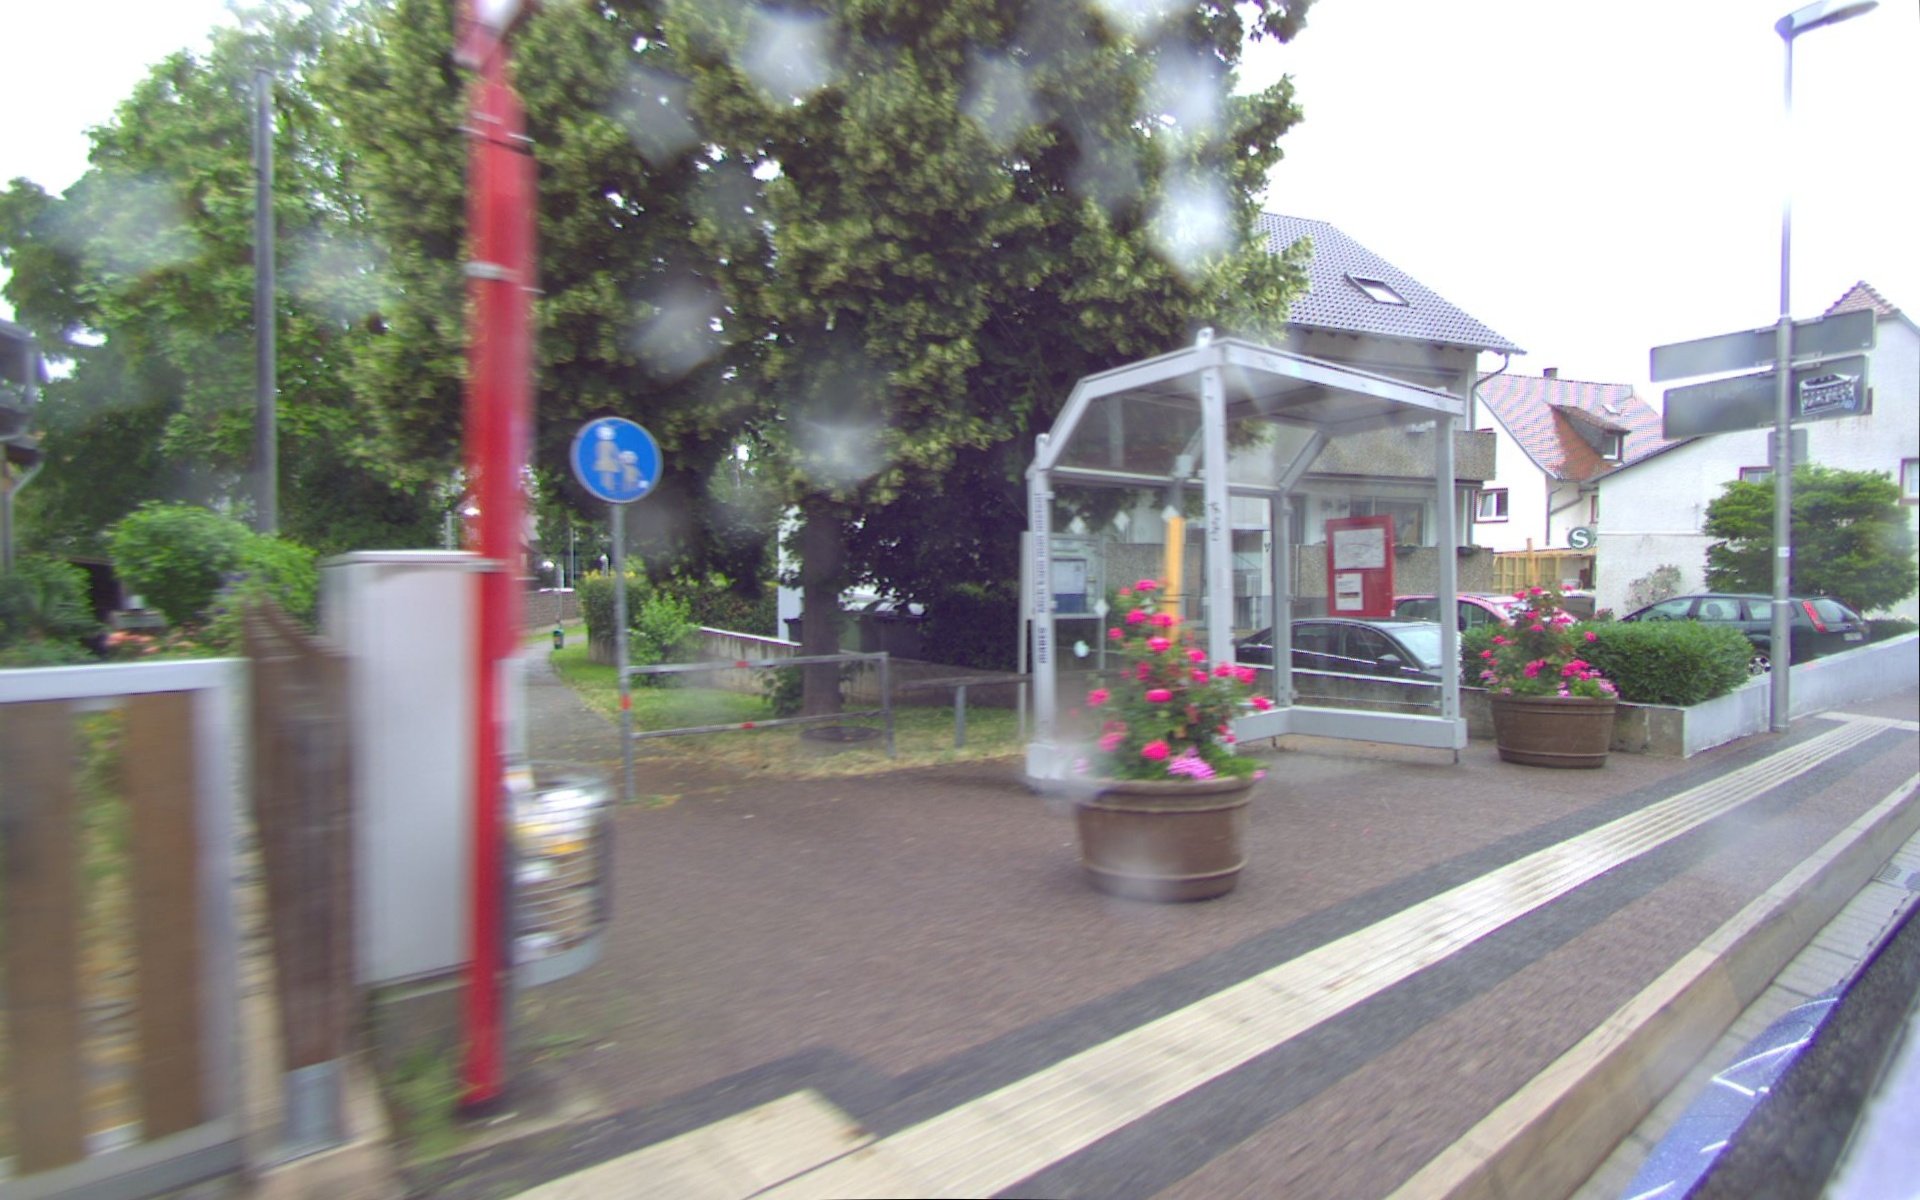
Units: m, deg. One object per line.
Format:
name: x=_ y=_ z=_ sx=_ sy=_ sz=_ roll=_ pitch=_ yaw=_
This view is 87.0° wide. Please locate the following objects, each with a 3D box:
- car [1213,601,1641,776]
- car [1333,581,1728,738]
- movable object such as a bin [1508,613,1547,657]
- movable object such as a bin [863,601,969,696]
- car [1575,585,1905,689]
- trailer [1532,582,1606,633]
car: x=4.849 y=0.785 z=11.081 sx=1.717 sy=1.395 sz=3.968 roll=0 pitch=2 yaw=-32
car: x=6.996 y=0.588 z=12.918 sx=1.819 sy=1.609 sz=4.089 roll=0 pitch=2 yaw=-25
movable object such as a bin: x=14.266 y=0.865 z=25.461 sx=0.558 sy=1.080 sz=0.627 roll=-1 pitch=0 yaw=-13
movable object such as a bin: x=-0.689 y=0.710 z=15.726 sx=1.134 sy=1.374 sz=1.245 roll=0 pitch=0 yaw=-38
car: x=13.265 y=0.524 z=17.558 sx=1.660 sy=1.498 sz=4.250 roll=0 pitch=2 yaw=-24
trailer: x=22.104 y=0.257 z=36.714 sx=2.565 sy=1.764 sz=1.571 roll=0 pitch=0 yaw=-41
